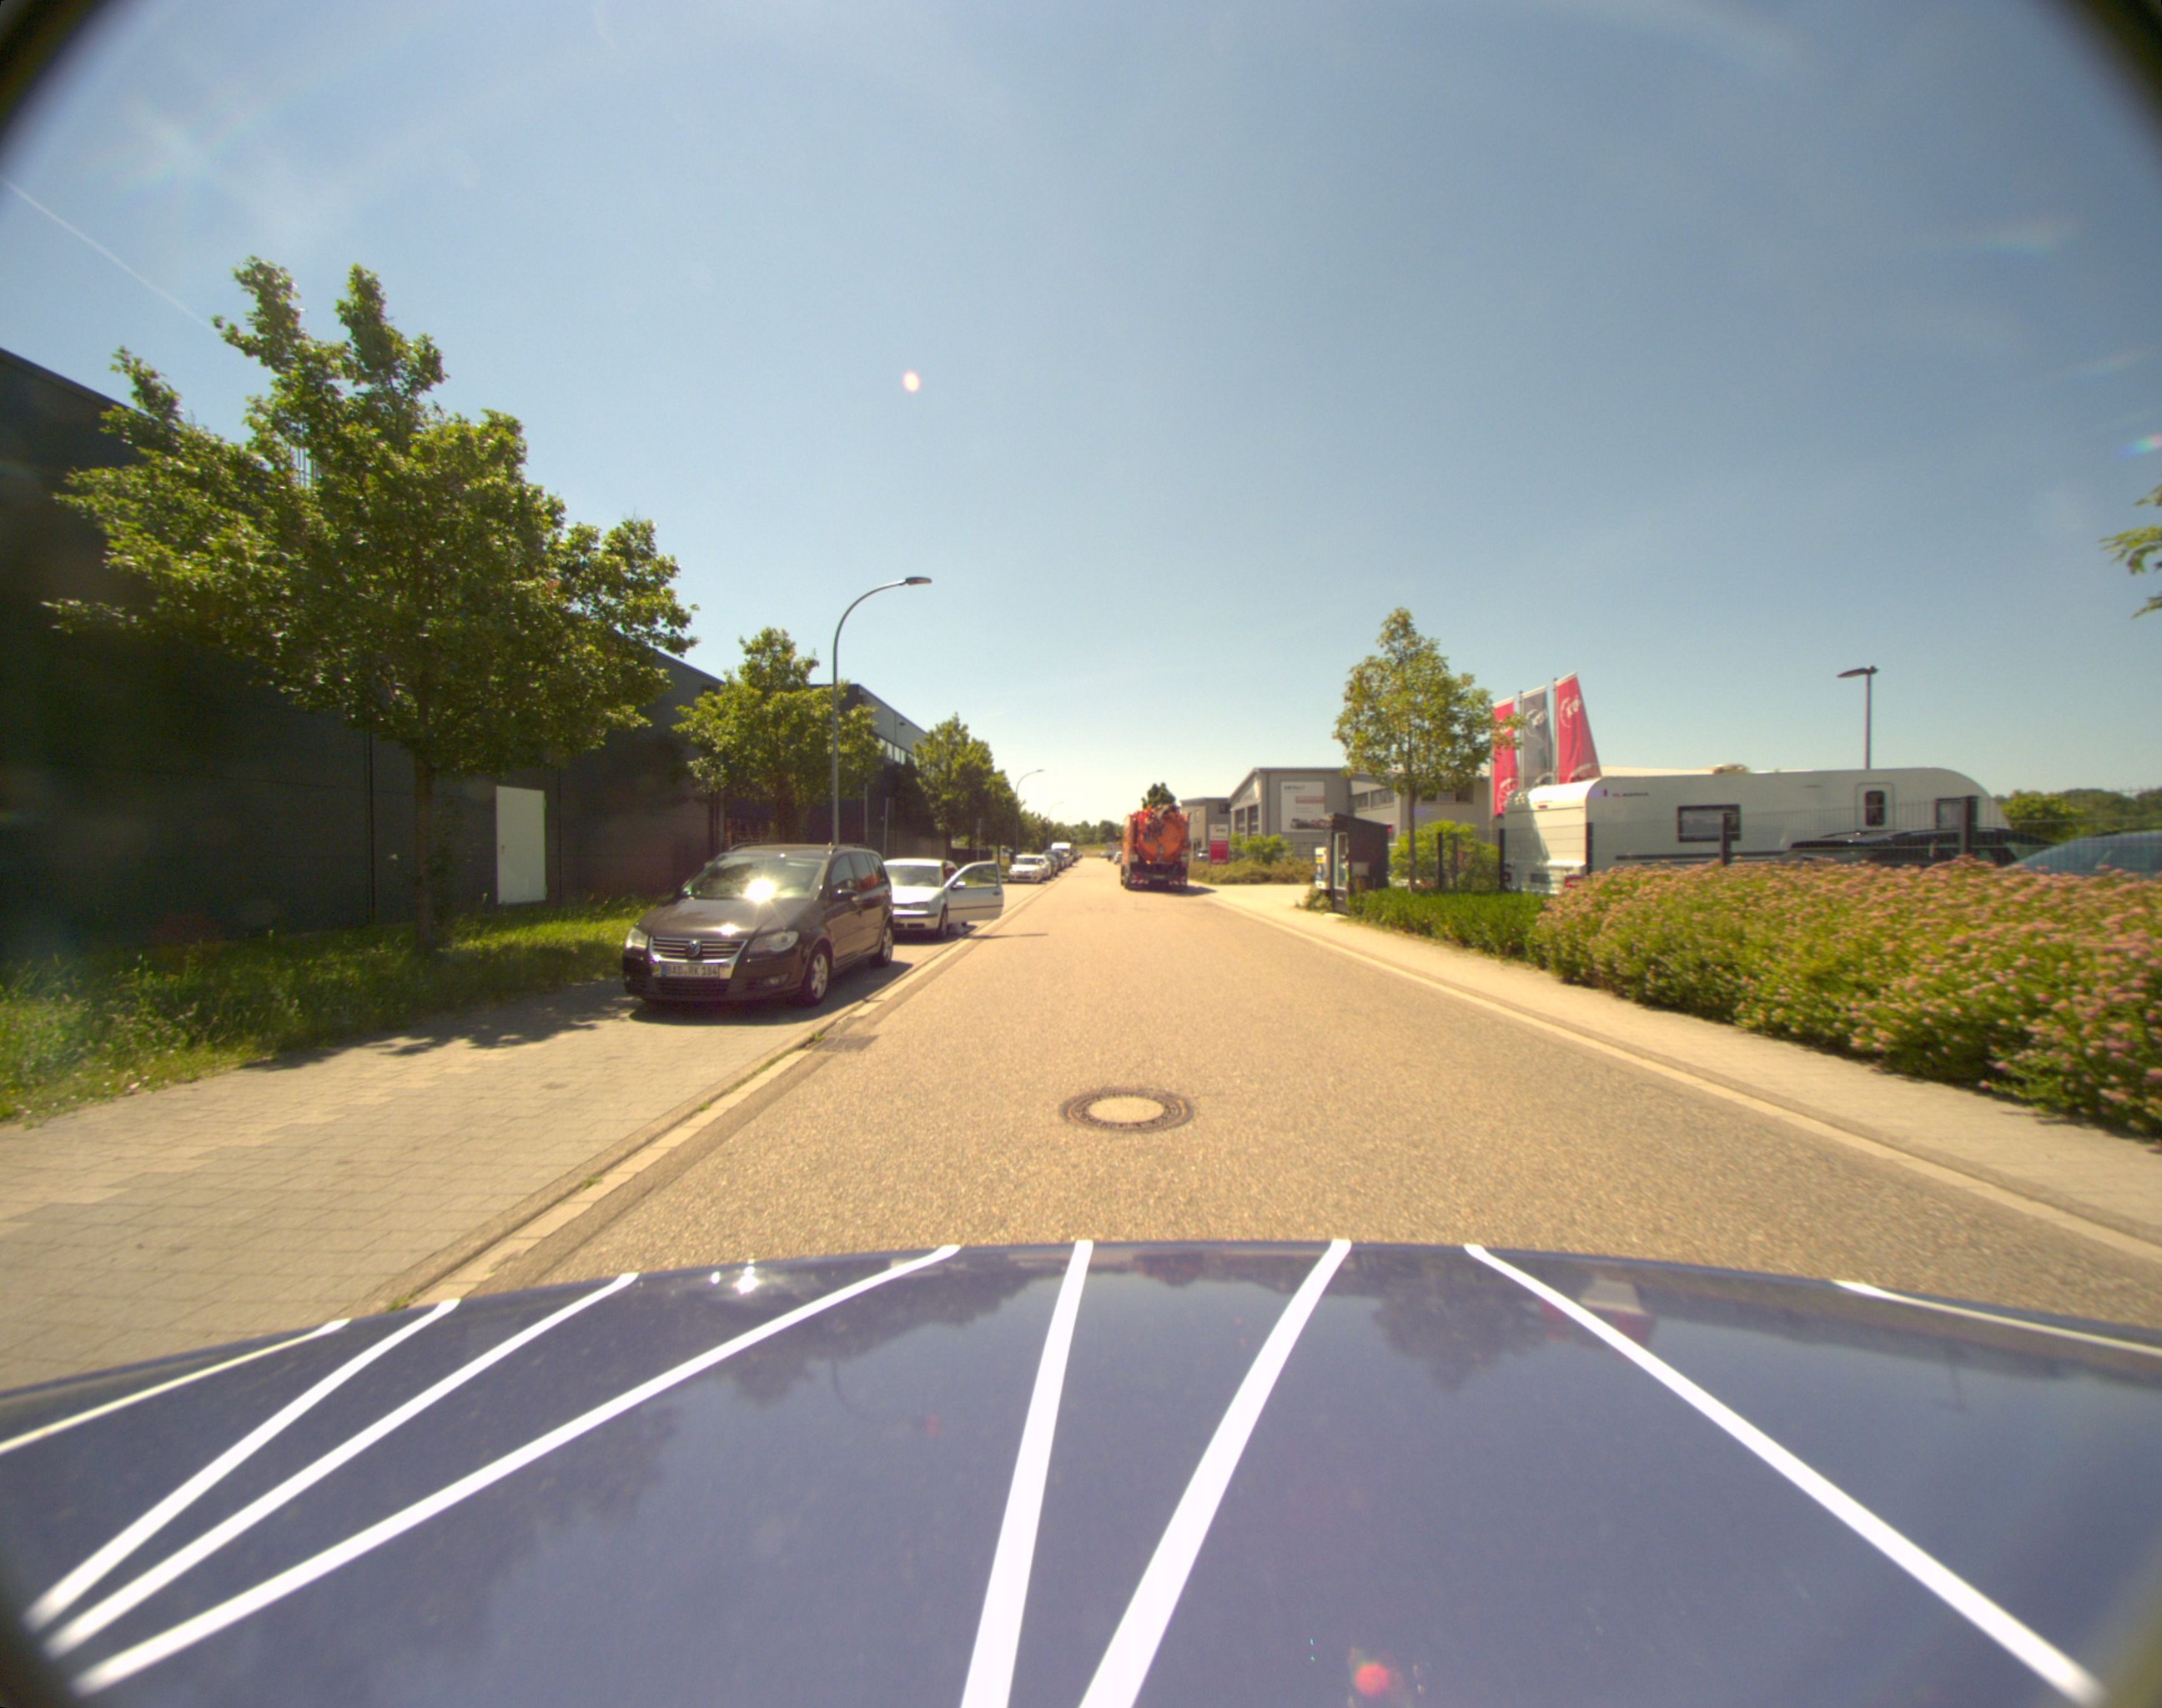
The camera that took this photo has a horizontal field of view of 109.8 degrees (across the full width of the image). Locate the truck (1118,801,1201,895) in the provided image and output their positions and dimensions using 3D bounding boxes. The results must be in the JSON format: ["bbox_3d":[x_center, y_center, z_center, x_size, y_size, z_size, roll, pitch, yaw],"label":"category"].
[{"bbox_3d":[3.247,-0.252,34.197,2.606,3.524,10.500,1,0,0],"label":"truck"}]

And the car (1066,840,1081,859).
[{"bbox_3d":[-1.097,-0.629,112.377,2.060,2.682,4.834,0,0,0],"label":"car"}]

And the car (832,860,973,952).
[{"bbox_3d":[-3.263,0.887,14.729,1.711,1.449,4.189,1,0,0],"label":"car"}]

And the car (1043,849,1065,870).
[{"bbox_3d":[-2.224,0.424,63.805,1.736,1.684,3.745,0,0,0],"label":"car"}]

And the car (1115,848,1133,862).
[{"bbox_3d":[5.134,0.109,90.816,1.998,1.674,4.000,0,0,2],"label":"car"}]

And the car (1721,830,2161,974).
[{"bbox_3d":[11.305,0.557,9.859,4.520,1.656,1.777,-1,1,0],"label":"car"}]

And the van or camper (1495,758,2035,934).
[{"bbox_3d":[11.193,-0.117,12.987,6.792,2.668,2.575,0,1,2],"label":"van or camper"}]

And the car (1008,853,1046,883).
[{"bbox_3d":[-2.838,0.727,40.578,1.736,1.501,3.665,1,0,0],"label":"car"}]

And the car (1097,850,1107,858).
[{"bbox_3d":[4.342,-0.085,156.863,1.867,1.674,4.223,0,0,2],"label":"car"}]

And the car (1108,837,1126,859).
[{"bbox_3d":[5.295,-0.868,112.562,2.600,3.213,6.222,0,0,2],"label":"car"}]

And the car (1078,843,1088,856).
[{"bbox_3d":[0.492,-0.879,157.438,2.060,2.682,4.834,0,0,0],"label":"car"}]

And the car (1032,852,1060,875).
[{"bbox_3d":[-2.370,0.609,51.892,1.736,1.501,3.745,0,0,0],"label":"car"}]

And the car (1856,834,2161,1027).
[{"bbox_3d":[10.784,0.626,7.572,4.522,1.656,1.776,-1,1,-4],"label":"car"}]

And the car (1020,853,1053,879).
[{"bbox_3d":[-2.618,0.694,45.515,1.736,1.501,3.844,0,0,0],"label":"car"}]

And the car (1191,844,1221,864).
[{"bbox_3d":[10.923,-0.004,66.419,1.998,1.674,4.000,0,0,1],"label":"car"}]

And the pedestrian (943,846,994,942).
[{"bbox_3d":[-2.196,0.757,14.843,0.722,1.799,0.703,-2,1,-35],"label":"pedestrian"}]

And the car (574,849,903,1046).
[{"bbox_3d":[-3.435,0.788,8.657,1.742,1.660,4.367,1,0,0],"label":"car"}]

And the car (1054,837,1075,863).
[{"bbox_3d":[-1.676,-0.427,80.022,2.060,2.682,4.834,0,0,0],"label":"car"}]
